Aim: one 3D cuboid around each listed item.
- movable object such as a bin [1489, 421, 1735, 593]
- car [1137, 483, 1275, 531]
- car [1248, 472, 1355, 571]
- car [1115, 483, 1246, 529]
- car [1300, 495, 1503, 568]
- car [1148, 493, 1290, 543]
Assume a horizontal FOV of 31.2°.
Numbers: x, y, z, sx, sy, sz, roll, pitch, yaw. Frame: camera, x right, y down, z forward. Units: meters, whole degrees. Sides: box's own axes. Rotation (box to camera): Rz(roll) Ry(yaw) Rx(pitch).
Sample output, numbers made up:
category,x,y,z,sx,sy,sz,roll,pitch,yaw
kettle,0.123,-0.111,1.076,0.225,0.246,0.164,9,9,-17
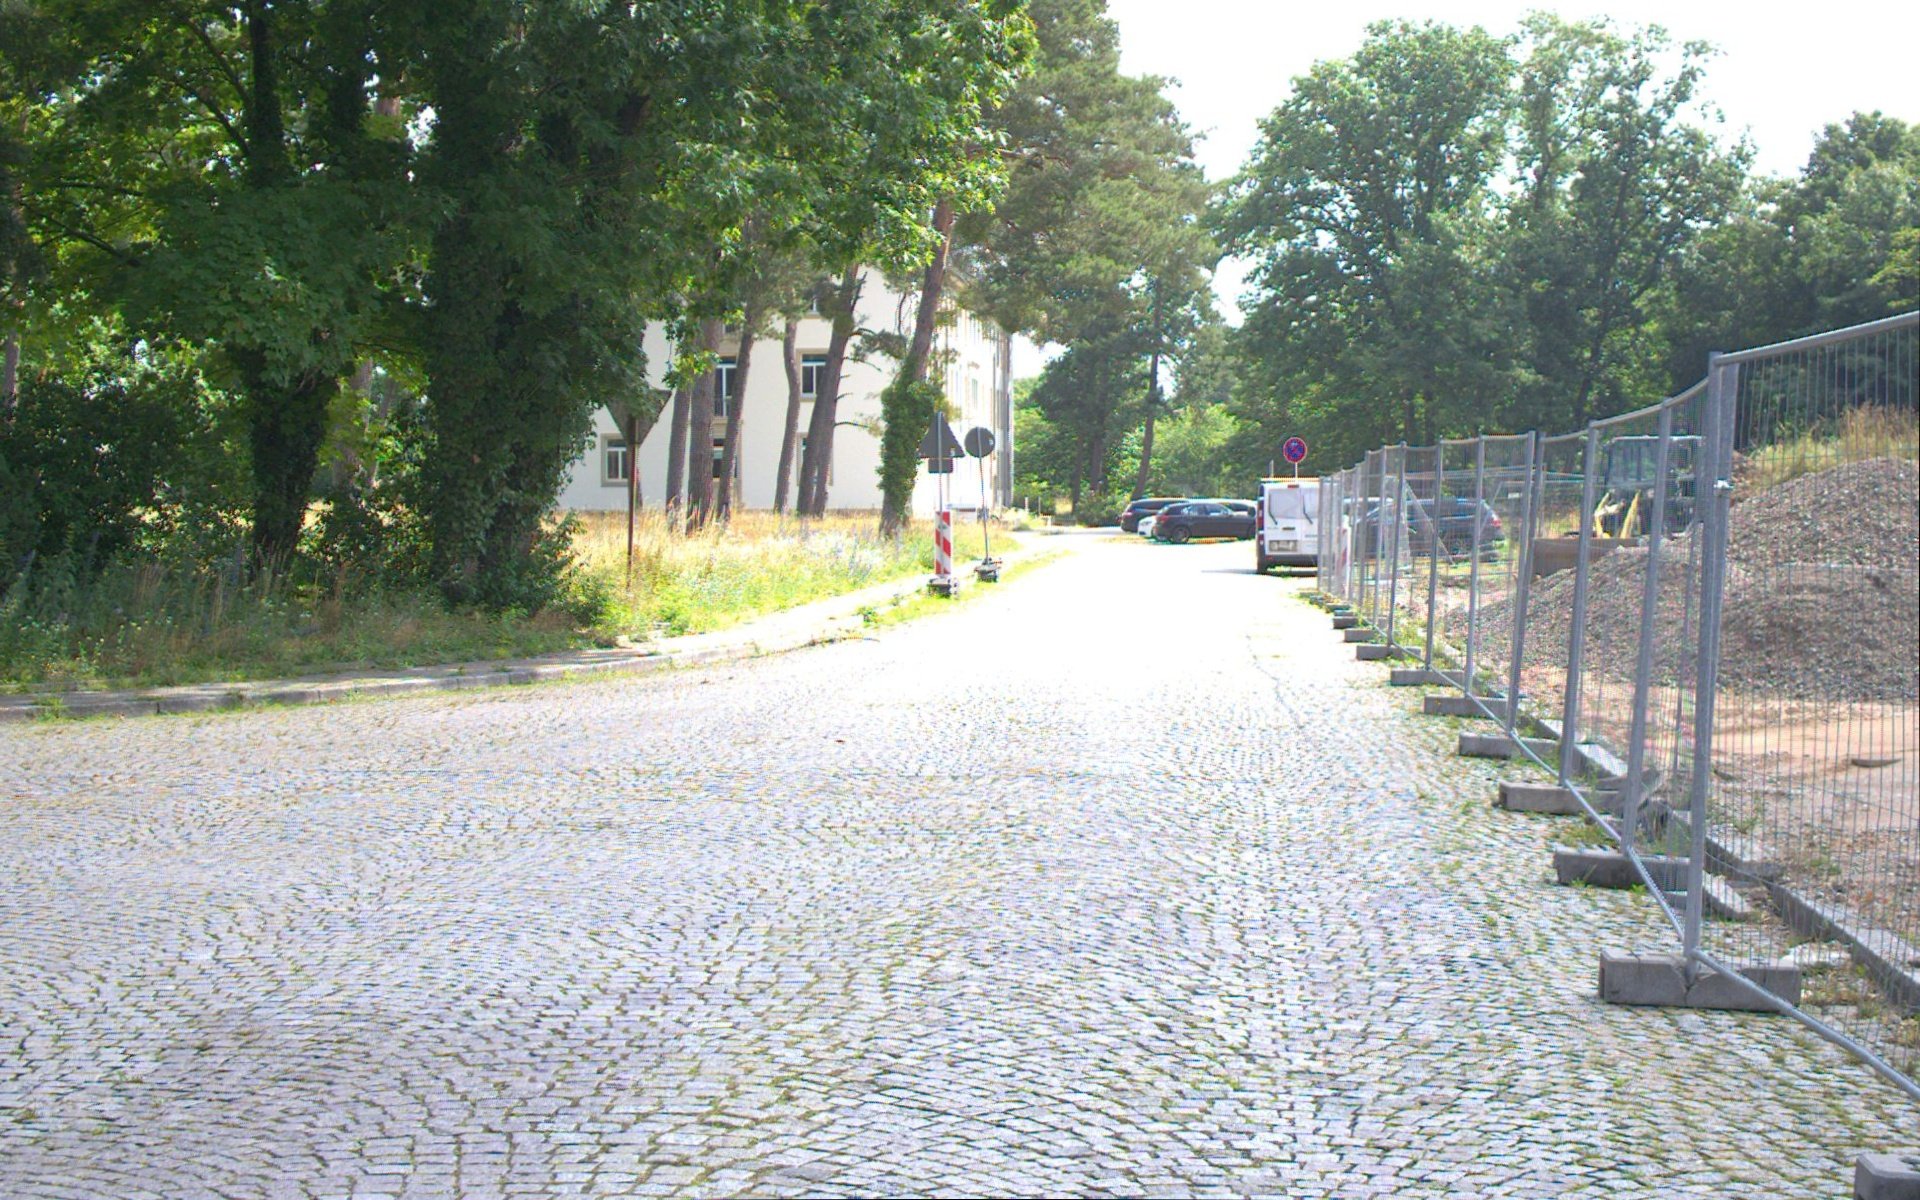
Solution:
category,x,y,z,sx,sy,sz,roll,pitch,yaw
movable object such as a bin,10.379,-1.482,54.477,2.132,2.584,4.782,2,2,33
car,8.840,-3.343,123.850,4.779,1.635,2.000,1,2,-1
car,7.192,-1.680,72.796,1.994,2.006,4.091,1,2,2
car,8.323,-3.573,130.244,4.779,1.635,2.000,1,2,-1
car,10.091,-1.570,78.403,4.405,1.505,1.999,2,2,12
car,9.079,-2.890,120.878,4.779,1.635,2.000,1,2,-1
